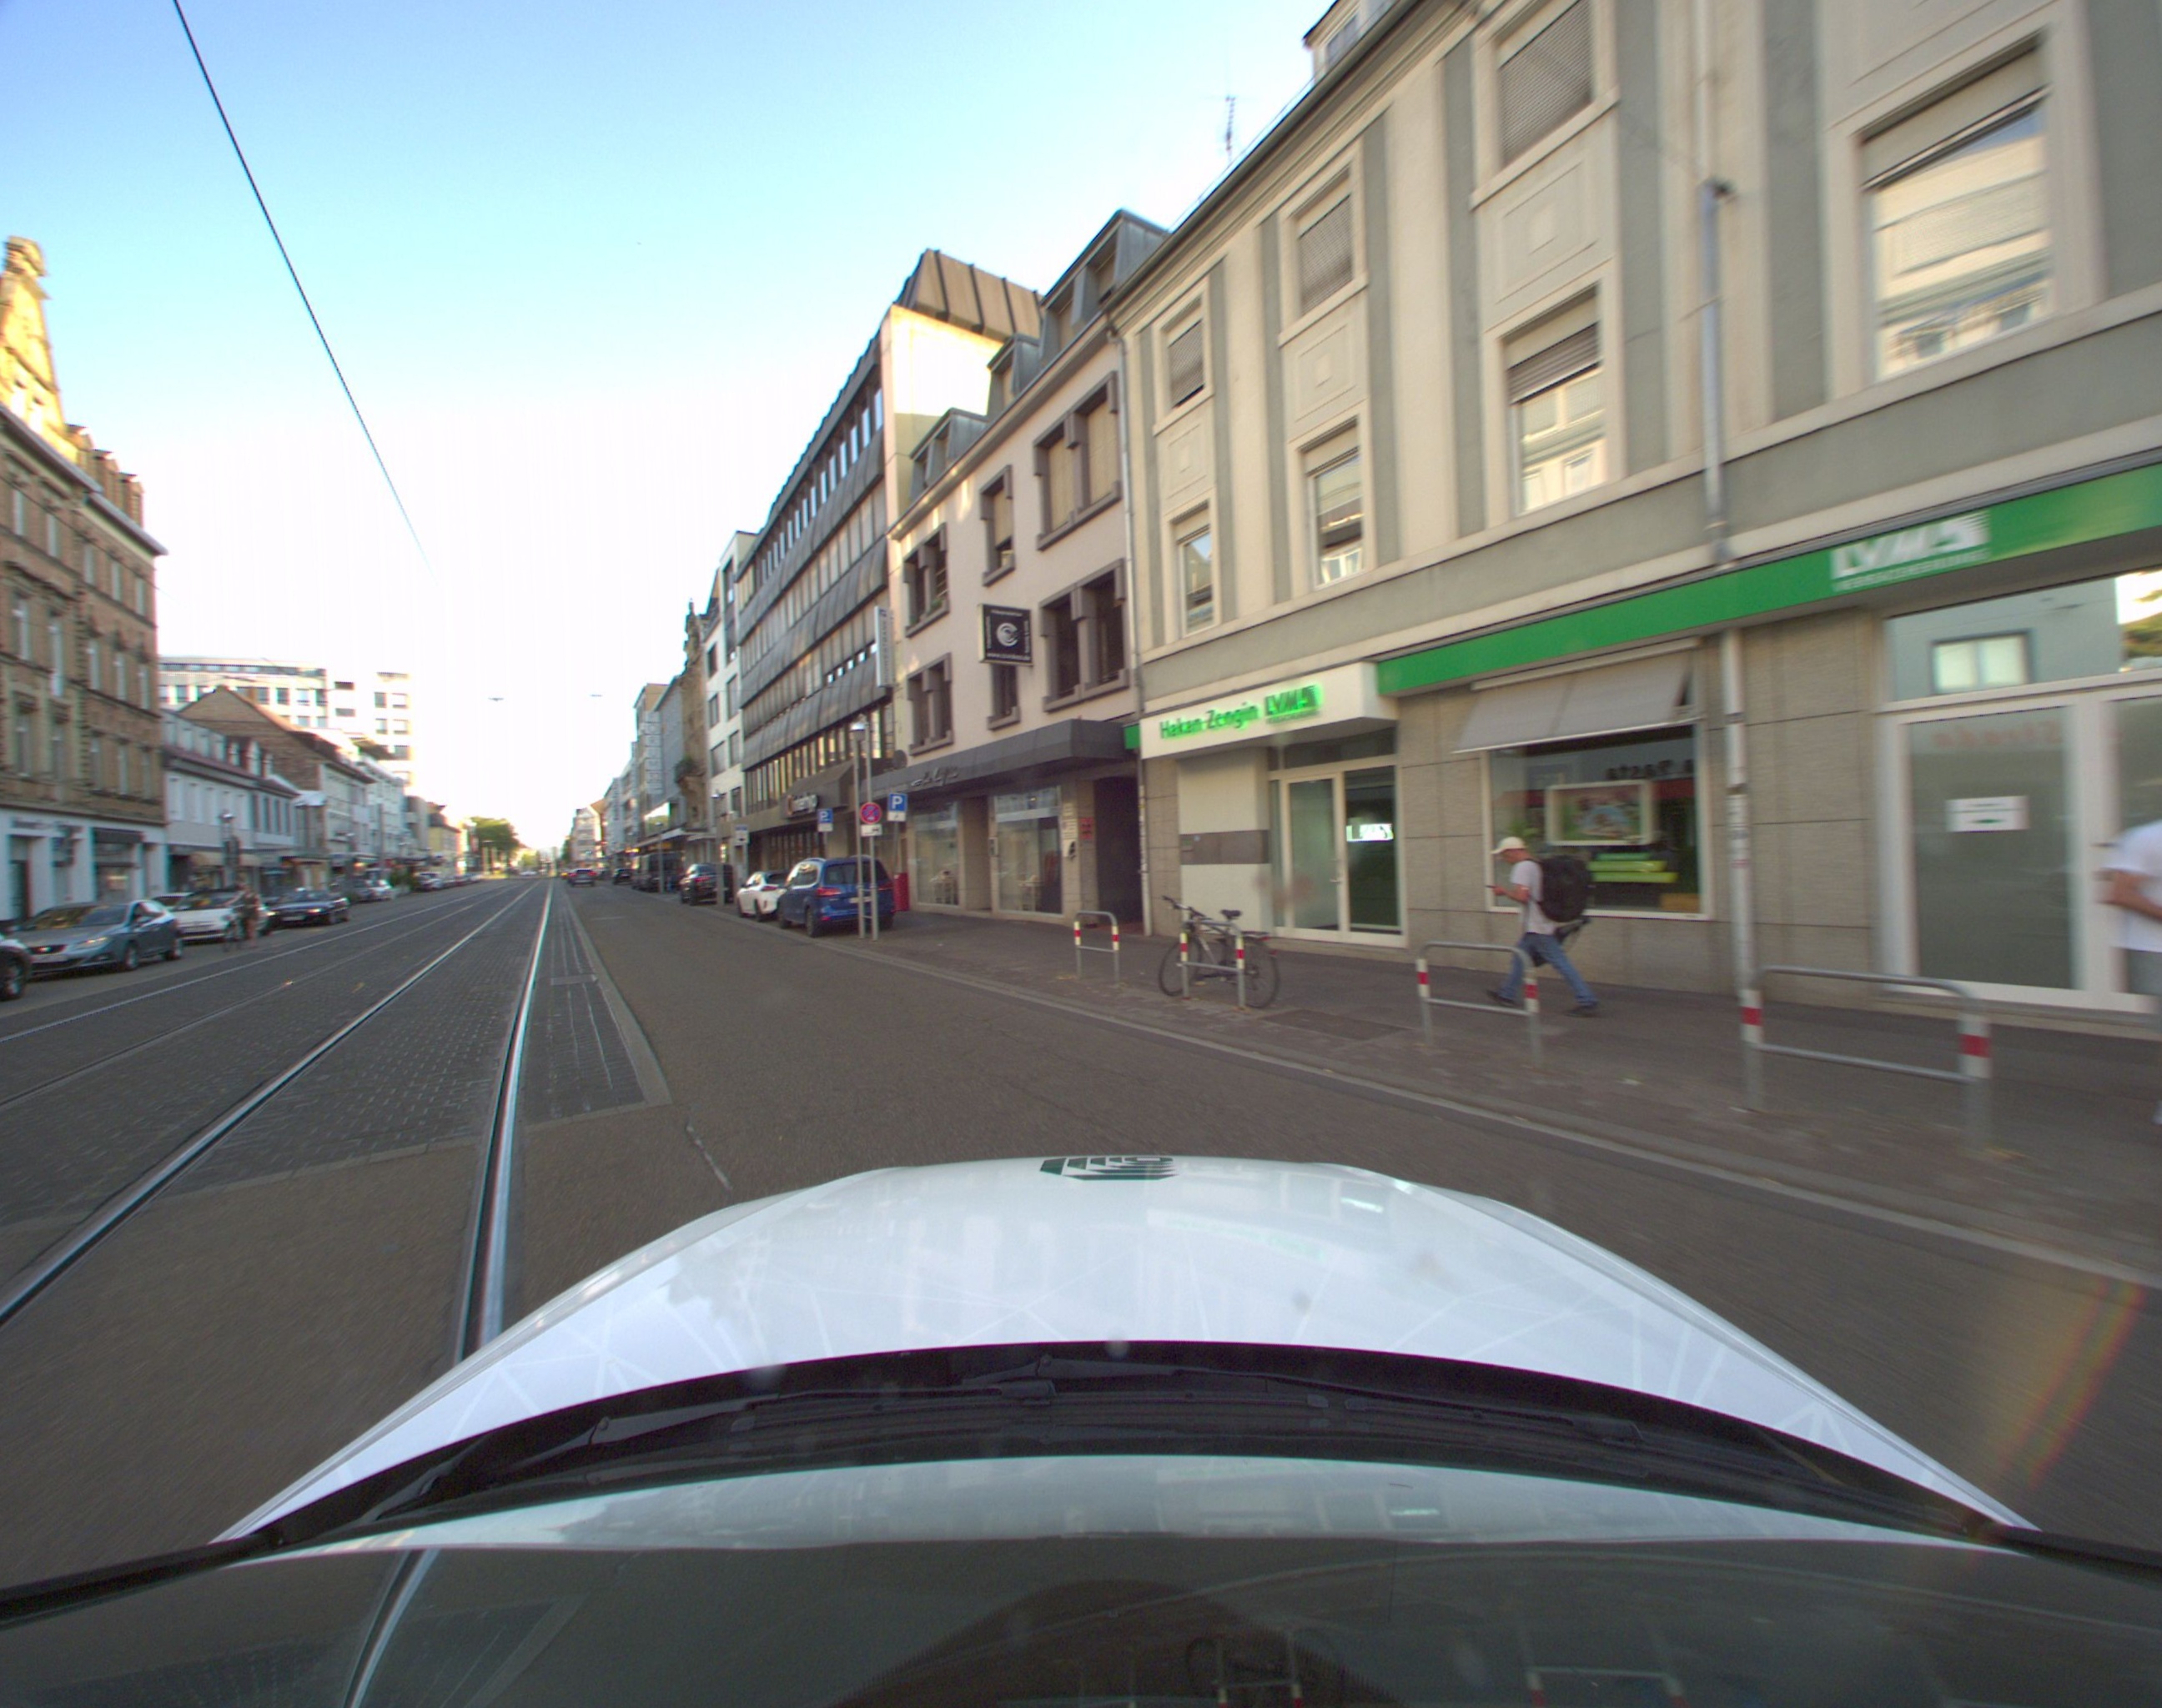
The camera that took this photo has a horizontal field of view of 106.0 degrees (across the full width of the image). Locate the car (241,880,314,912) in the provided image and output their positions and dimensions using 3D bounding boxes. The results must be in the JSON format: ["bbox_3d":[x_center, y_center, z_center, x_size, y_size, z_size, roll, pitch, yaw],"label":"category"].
[{"bbox_3d":[-38.399,1.978,39.015,1.746,1.389,3.824,0,-1,-33],"label":"car"}]

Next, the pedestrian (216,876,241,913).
[{"bbox_3d":[-42.335,1.990,40.445,0.652,1.772,0.846,-1,-1,-33],"label":"pedestrian"}]

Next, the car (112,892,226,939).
[{"bbox_3d":[-32.003,2.105,28.721,1.772,1.389,4.227,0,-1,-35],"label":"car"}]

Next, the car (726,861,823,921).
[{"bbox_3d":[-9.252,1.063,24.406,1.779,1.485,3.831,-5,2,-34],"label":"car"}]

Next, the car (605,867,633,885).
[{"bbox_3d":[-44.135,2.092,77.789,1.958,1.544,4.497,-5,2,-33],"label":"car"}]

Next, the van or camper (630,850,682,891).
[{"bbox_3d":[-28.170,1.104,53.870,2.205,2.426,6.067,-5,2,-34],"label":"van or camper"}]

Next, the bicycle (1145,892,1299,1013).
[{"bbox_3d":[1.421,0.963,8.461,0.481,1.089,1.629,-5,1,-36],"label":"bicycle"}]

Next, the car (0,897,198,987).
[{"bbox_3d":[-20.144,1.700,16.651,1.771,1.386,4.019,-5,2,-33],"label":"car"}]

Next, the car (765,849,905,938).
[{"bbox_3d":[-6.012,0.879,19.513,1.929,1.716,4.516,-5,2,-33],"label":"car"}]

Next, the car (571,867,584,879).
[{"bbox_3d":[-97.999,3.684,158.557,1.958,2.145,4.497,-5,2,-33],"label":"car"}]

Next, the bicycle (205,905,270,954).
[{"bbox_3d":[-20.841,1.847,20.161,0.698,1.034,2.059,-2,0,-35],"label":"bicycle"}]

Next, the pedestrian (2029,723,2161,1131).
[{"bbox_3d":[5.246,0.342,4.120,0.579,1.928,0.490,-3,0,-44],"label":"pedestrian"}]

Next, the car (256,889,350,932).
[{"bbox_3d":[-28.196,2.007,29.650,1.679,1.228,4.228,-5,2,-34],"label":"car"}]

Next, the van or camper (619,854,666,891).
[{"bbox_3d":[-31.899,1.338,59.130,2.205,2.426,5.458,-5,2,-35],"label":"van or camper"}]

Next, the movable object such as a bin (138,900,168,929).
[{"bbox_3d":[-38.521,2.497,33.802,0.594,1.131,0.721,-3,0,-33],"label":"movable object such as a bin"}]

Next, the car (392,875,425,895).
[{"bbox_3d":[-64.244,2.935,77.909,1.931,1.763,4.383,0,-1,-33],"label":"car"}]

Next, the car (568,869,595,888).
[{"bbox_3d":[-45.869,2.239,74.742,1.957,1.545,4.497,-2,0,-33],"label":"car"}]

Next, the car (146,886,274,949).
[{"bbox_3d":[-25.371,1.791,23.872,1.679,1.505,3.641,-5,2,-34],"label":"car"}]

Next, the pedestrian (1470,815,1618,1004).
[{"bbox_3d":[4.116,0.454,7.271,0.702,1.548,0.861,-3,0,-31],"label":"pedestrian"}]

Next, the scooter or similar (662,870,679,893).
[{"bbox_3d":[-23.827,1.605,47.270,0.353,1.223,1.115,-4,1,0],"label":"scooter or similar"}]

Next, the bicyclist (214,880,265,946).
[{"bbox_3d":[-20.989,1.458,20.335,0.698,1.565,0.790,-2,0,-35],"label":"bicyclist"}]

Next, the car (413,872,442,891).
[{"bbox_3d":[-68.181,2.825,85.022,1.931,1.936,4.791,0,-1,-33],"label":"car"}]

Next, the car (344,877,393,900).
[{"bbox_3d":[-49.123,2.320,56.212,1.862,1.504,4.791,0,-1,-33],"label":"car"}]

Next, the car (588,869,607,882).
[{"bbox_3d":[-64.927,2.876,109.357,1.958,1.544,4.497,-5,2,-33],"label":"car"}]

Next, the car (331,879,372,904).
[{"bbox_3d":[-46.837,2.382,52.332,1.603,1.504,2.782,0,-1,-34],"label":"car"}]

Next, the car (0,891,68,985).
[{"bbox_3d":[-16.809,1.336,11.358,1.929,1.386,4.516,-5,2,-33],"label":"car"}]

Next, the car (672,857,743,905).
[{"bbox_3d":[-15.828,1.121,34.354,1.998,1.734,4.622,-5,2,-33],"label":"car"}]
